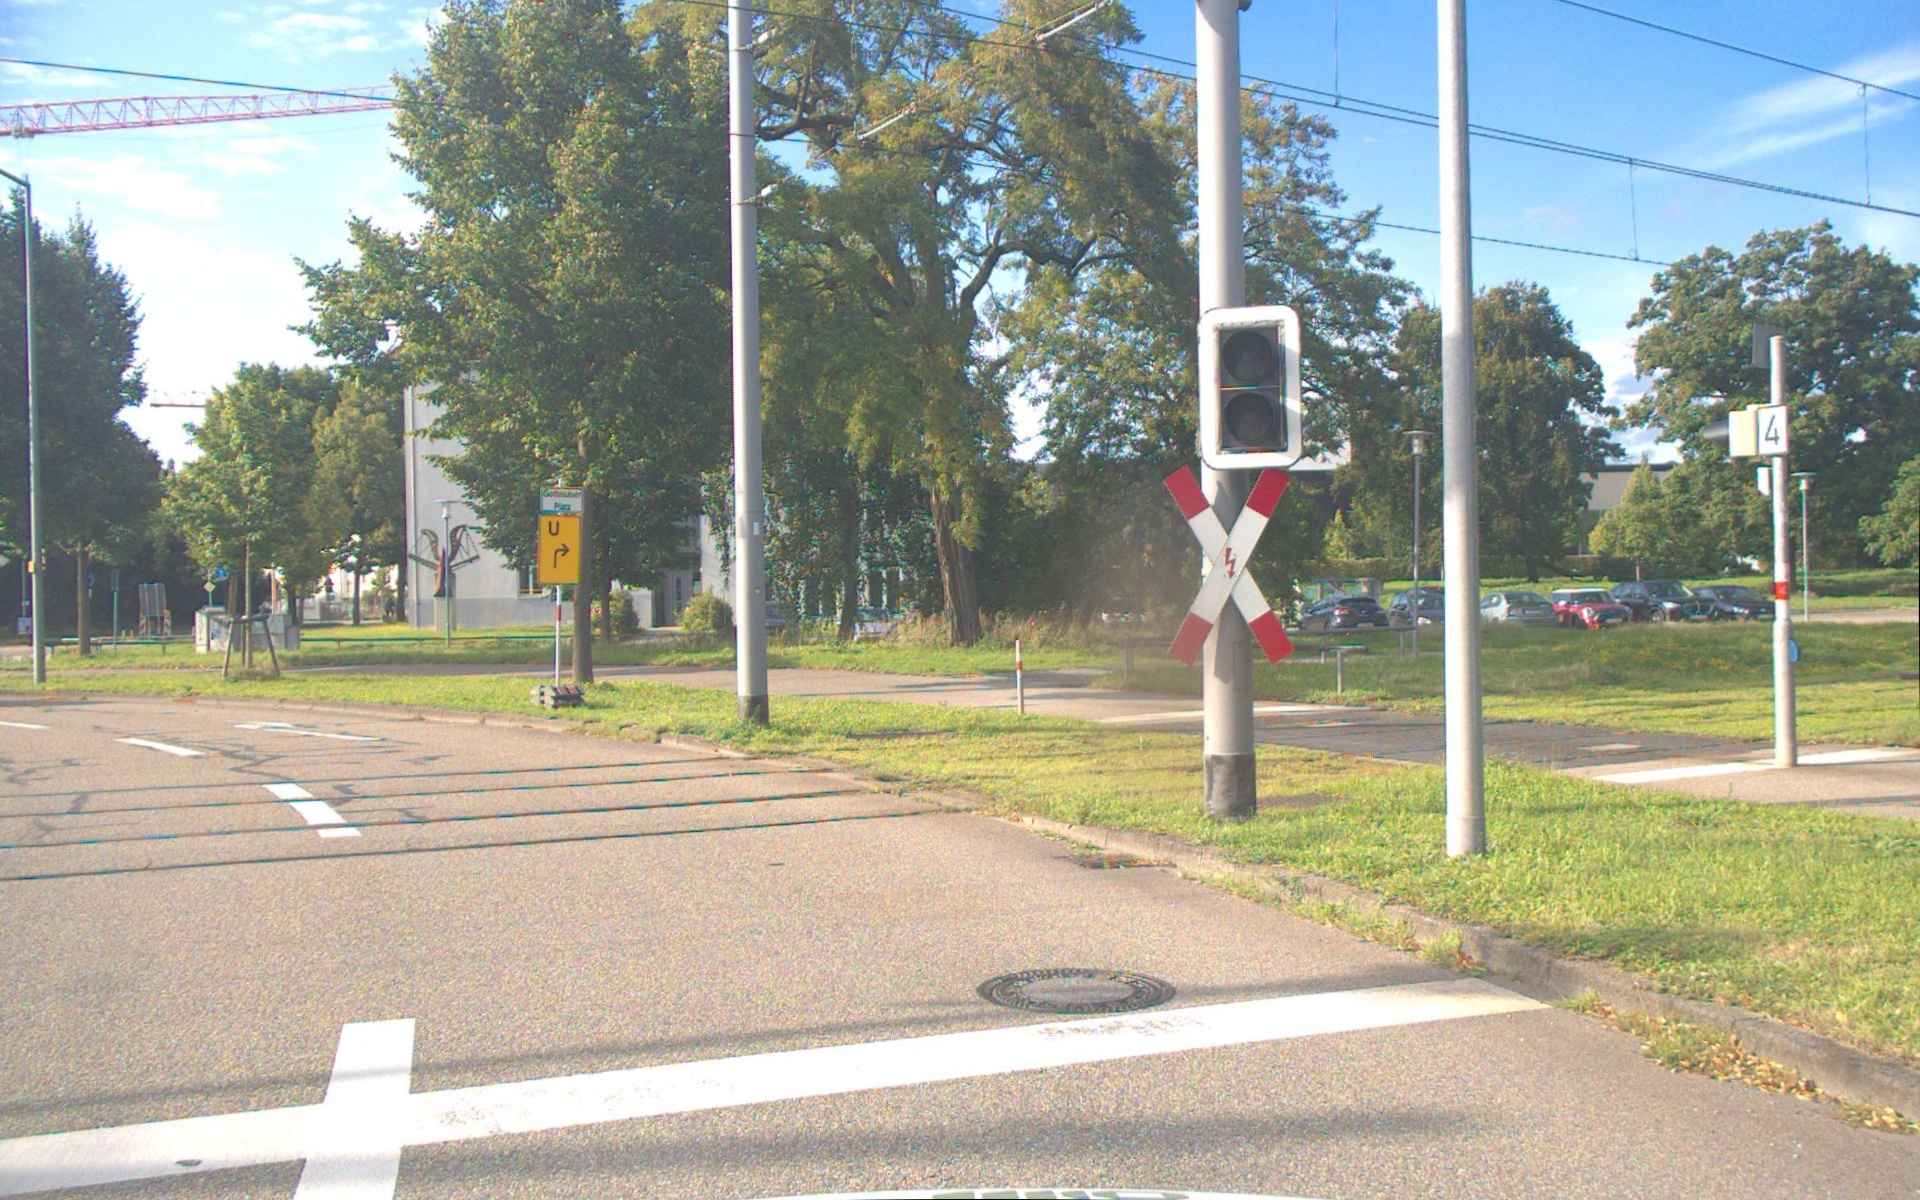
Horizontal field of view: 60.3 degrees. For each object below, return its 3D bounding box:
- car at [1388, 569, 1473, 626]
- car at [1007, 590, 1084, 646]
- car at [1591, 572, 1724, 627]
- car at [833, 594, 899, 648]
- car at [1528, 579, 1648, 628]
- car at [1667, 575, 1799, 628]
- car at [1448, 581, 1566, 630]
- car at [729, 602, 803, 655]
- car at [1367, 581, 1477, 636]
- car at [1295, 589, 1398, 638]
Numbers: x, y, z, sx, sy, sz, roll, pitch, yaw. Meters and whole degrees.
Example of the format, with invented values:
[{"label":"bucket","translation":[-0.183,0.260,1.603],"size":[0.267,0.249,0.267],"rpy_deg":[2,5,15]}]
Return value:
[{"label":"car","translation":[17.778,-0.055,62.710],"size":[1.833,2.049,4.809],"rpy_deg":[1,-1,0]},{"label":"car","translation":[2.505,0.520,49.282],"size":[1.818,1.542,4.731],"rpy_deg":[-2,0,-3]},{"label":"car","translation":[21.370,-0.011,50.921],"size":[1.818,1.542,4.942],"rpy_deg":[-2,0,-3]},{"label":"car","translation":[-2.757,0.598,49.202],"size":[1.818,1.465,4.731],"rpy_deg":[-2,0,-3]},{"label":"car","translation":[19.275,0.099,50.968],"size":[1.818,1.386,4.467],"rpy_deg":[-2,0,-3]},{"label":"car","translation":[23.900,0.043,51.324],"size":[1.818,1.542,4.467],"rpy_deg":[-2,0,-3]},{"label":"car","translation":[16.772,0.160,50.934],"size":[1.818,1.382,4.831],"rpy_deg":[-2,0,-3]},{"label":"car","translation":[-5.660,0.805,48.755],"size":[1.818,1.405,4.513],"rpy_deg":[-2,0,-3]},{"label":"car","translation":[13.992,0.256,50.360],"size":[1.818,1.542,4.745],"rpy_deg":[-2,0,-3]},{"label":"car","translation":[11.640,0.390,50.101],"size":[1.818,1.383,4.731],"rpy_deg":[-2,0,-3]}]
